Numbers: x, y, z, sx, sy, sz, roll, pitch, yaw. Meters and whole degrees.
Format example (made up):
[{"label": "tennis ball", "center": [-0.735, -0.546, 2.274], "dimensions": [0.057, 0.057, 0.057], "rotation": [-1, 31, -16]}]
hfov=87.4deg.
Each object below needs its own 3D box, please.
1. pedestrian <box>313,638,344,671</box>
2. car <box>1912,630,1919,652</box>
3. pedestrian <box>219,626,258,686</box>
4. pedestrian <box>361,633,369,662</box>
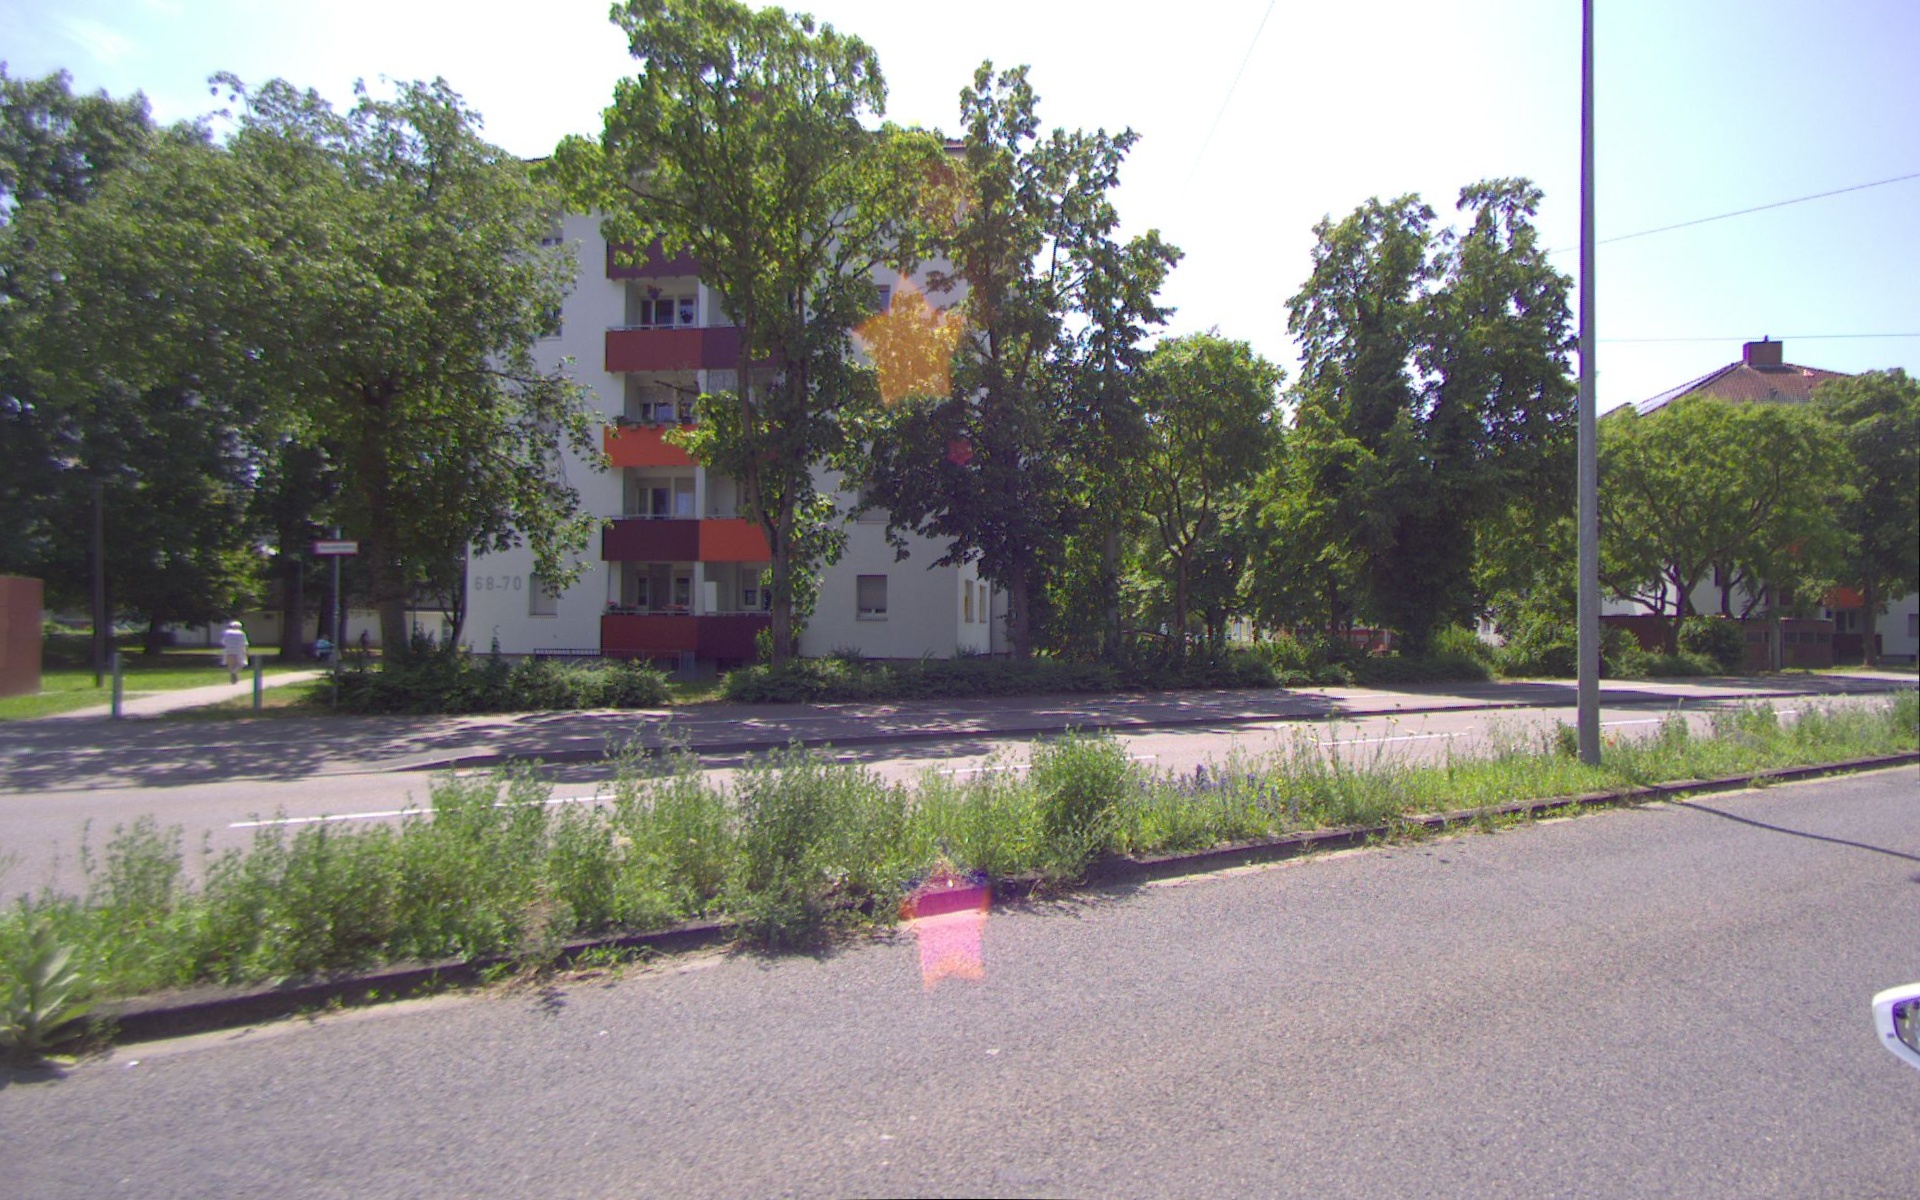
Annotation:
[{"label": "pedestrian", "center": [-23.215, 1.992, 36.947], "dimensions": [0.887, 1.191, 0.400], "rotation": [1, -2, -26]}, {"label": "car", "center": [78.422, 3.249, 79.179], "dimensions": [1.980, 1.781, 4.637], "rotation": [1, -2, -34]}, {"label": "pedestrian", "center": [-17.760, 1.368, 24.741], "dimensions": [0.680, 1.450, 0.471], "rotation": [1, -2, -28]}, {"label": "pedestrian", "center": [-30.980, 2.472, 52.289], "dimensions": [0.355, 1.504, 0.447], "rotation": [1, -2, -31]}]
